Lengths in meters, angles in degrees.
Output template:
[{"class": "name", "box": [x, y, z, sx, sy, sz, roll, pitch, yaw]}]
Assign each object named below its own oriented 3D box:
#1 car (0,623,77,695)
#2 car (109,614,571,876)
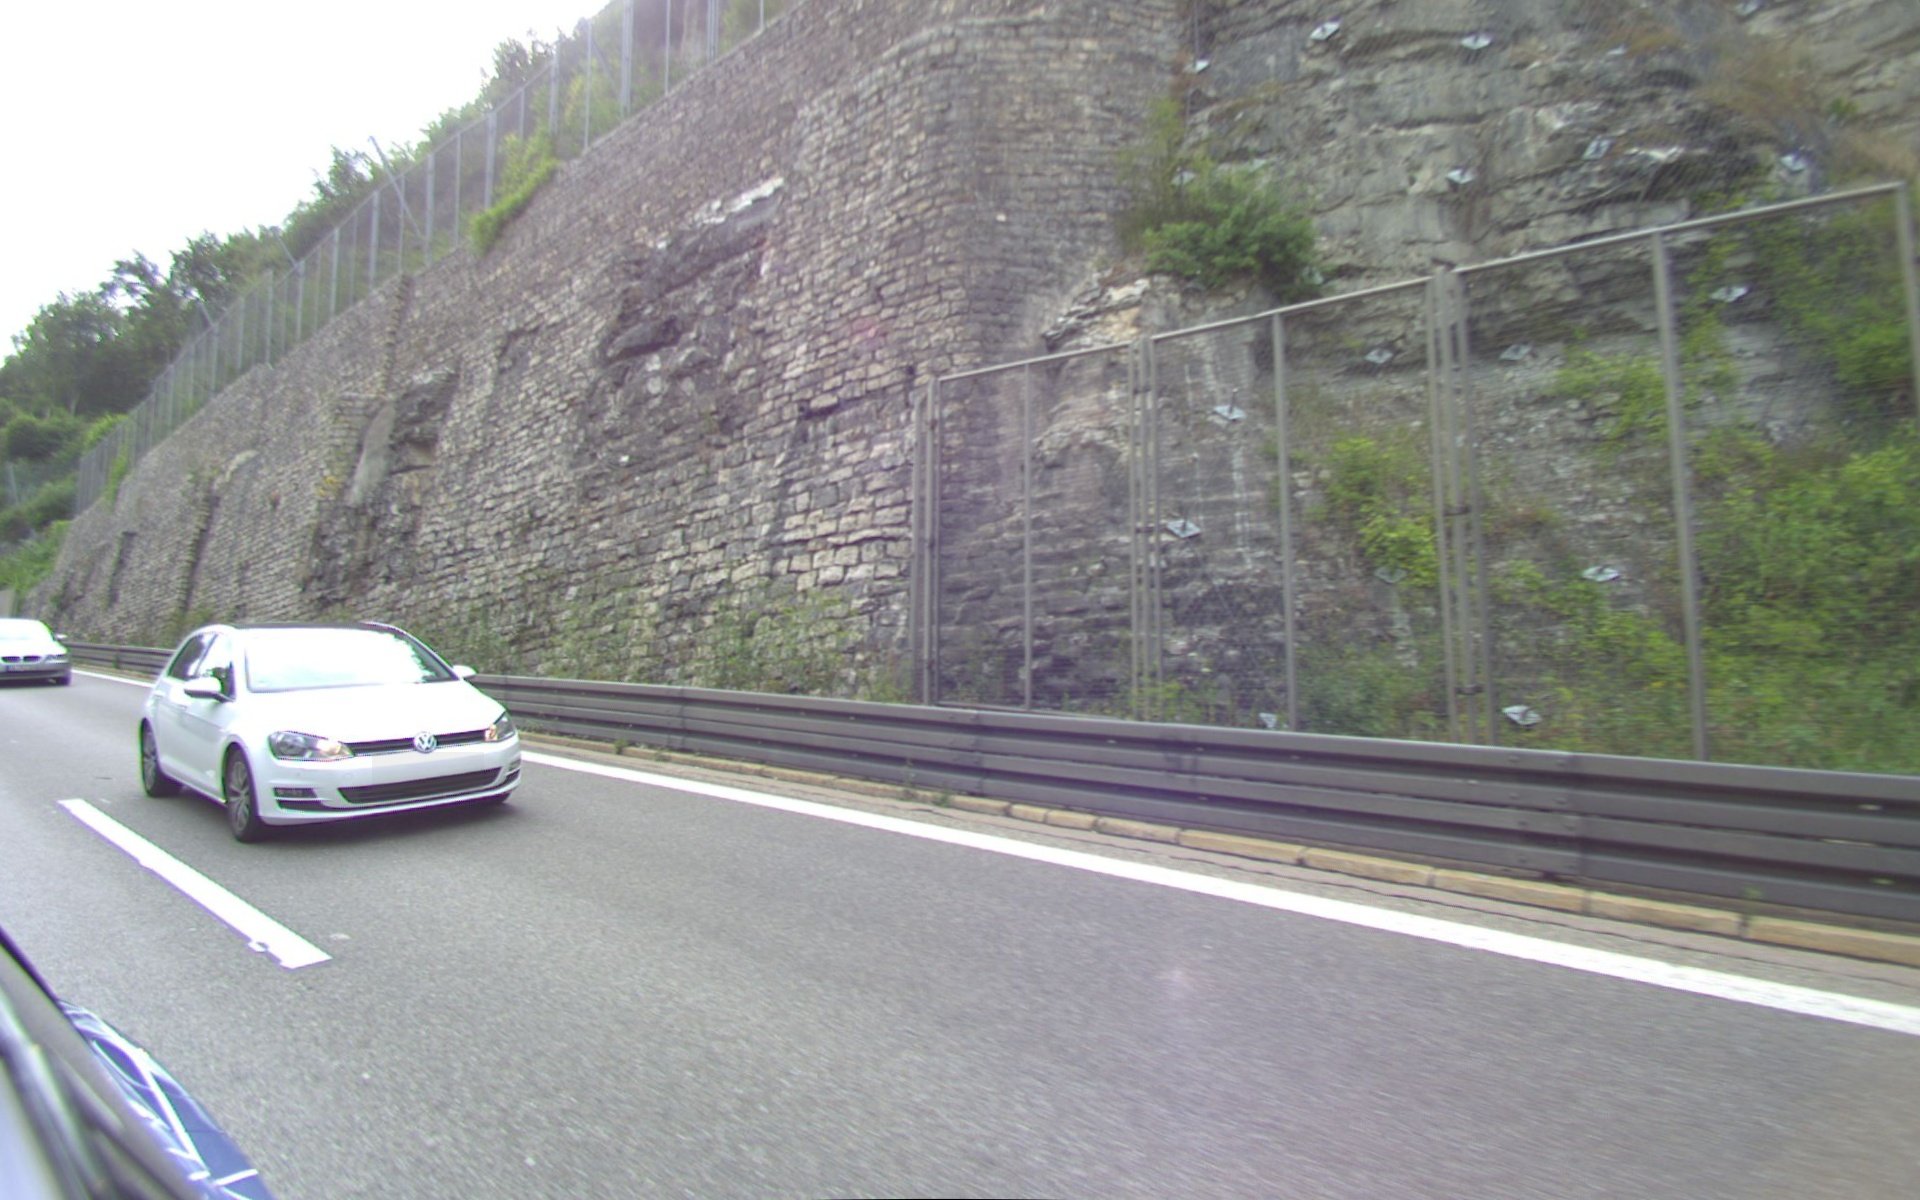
[{"class": "car", "box": [-21.650, 1.288, 22.899, 5.132, 1.468, 1.809, -2, -2, 41]}, {"class": "car", "box": [-5.112, 0.865, 8.040, 4.625, 1.493, 1.826, -1, -1, 41]}]
